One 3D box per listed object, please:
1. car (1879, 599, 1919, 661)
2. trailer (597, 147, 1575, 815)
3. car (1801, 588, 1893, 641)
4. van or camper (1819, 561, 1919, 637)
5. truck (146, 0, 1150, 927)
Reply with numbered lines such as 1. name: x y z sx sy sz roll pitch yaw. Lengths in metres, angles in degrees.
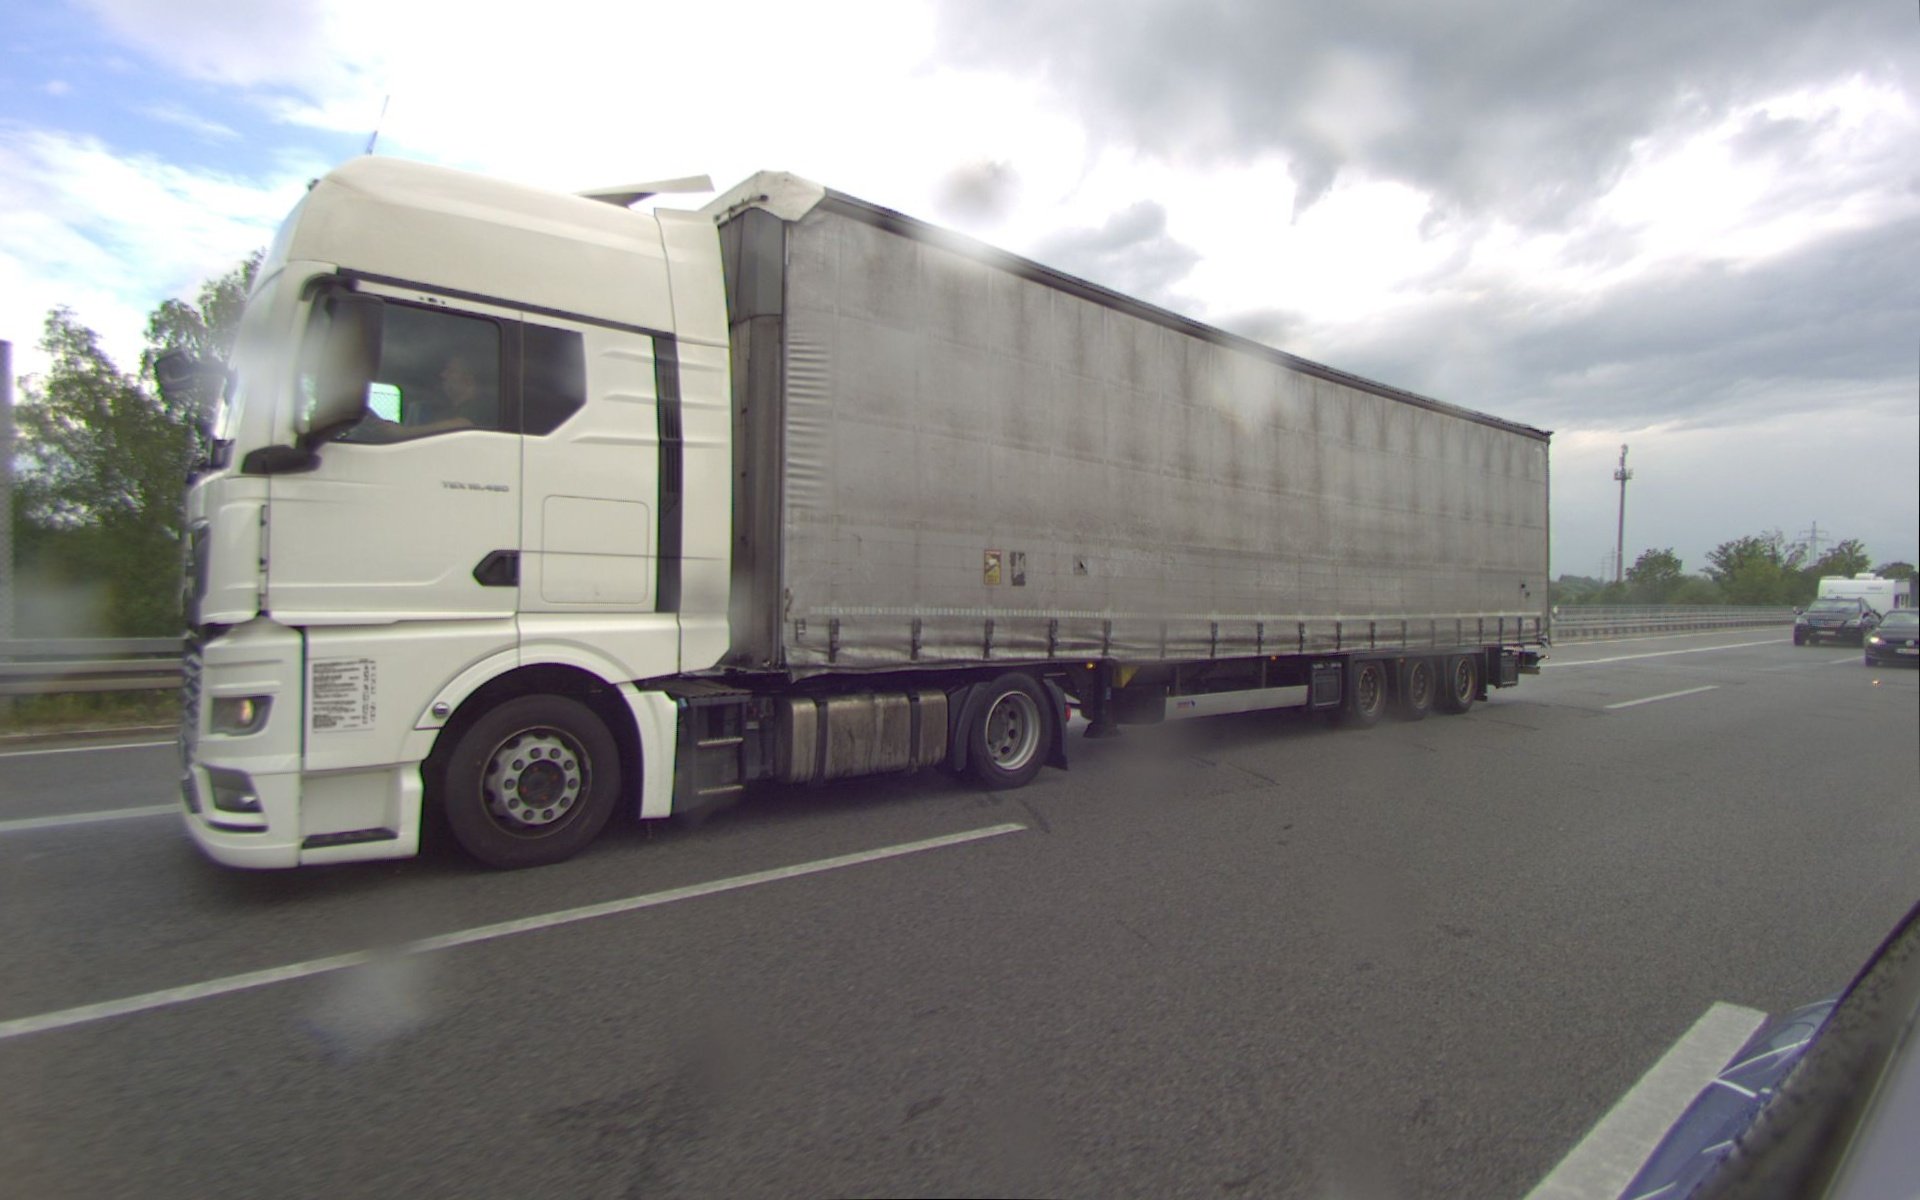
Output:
1. car: 24.057 0.708 24.983 3.932 1.464 1.715 0 0 -43
2. trailer: 3.162 -0.705 11.886 13.872 4.071 2.966 0 0 -41
3. car: 31.838 0.482 36.297 4.424 1.798 1.923 0 0 -41
4. van or camper: 36.225 -0.031 40.034 7.082 2.773 2.388 0 0 -41
5. truck: -1.790 -0.673 7.510 6.474 4.071 2.966 1 0 -42
